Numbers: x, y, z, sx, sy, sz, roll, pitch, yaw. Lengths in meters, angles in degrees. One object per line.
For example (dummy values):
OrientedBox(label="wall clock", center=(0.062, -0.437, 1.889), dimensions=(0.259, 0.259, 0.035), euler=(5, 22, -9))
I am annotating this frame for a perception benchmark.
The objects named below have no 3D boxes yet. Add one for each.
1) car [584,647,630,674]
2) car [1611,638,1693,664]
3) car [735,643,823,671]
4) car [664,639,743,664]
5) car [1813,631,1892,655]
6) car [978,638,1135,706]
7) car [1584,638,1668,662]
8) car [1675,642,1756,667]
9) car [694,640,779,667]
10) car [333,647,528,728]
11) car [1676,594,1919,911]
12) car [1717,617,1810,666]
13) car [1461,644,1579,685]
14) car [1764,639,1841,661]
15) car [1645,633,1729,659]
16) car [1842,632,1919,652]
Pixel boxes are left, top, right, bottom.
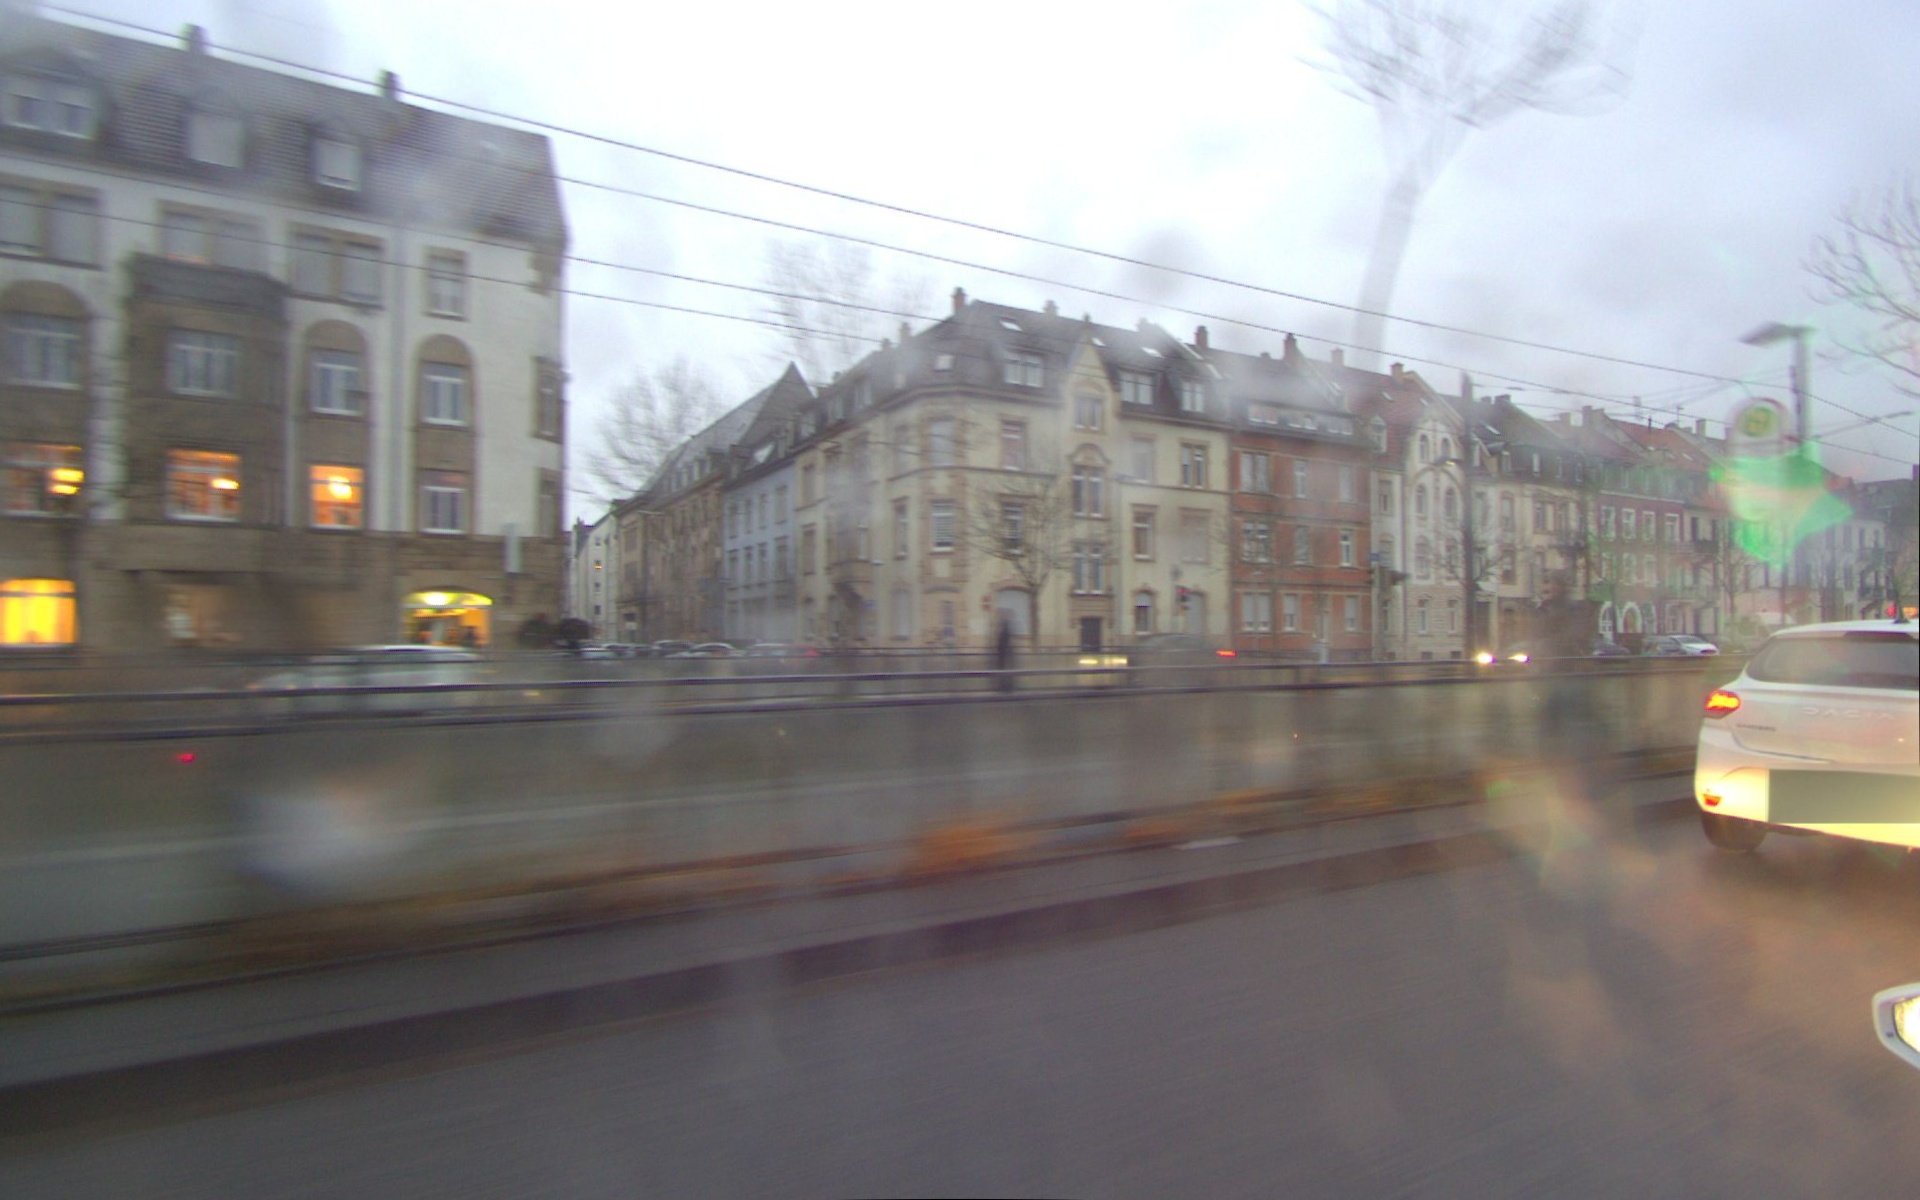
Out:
OrientedBox(label="car", center=(-14.914, 2.555, 42.393), dimensions=(1.315, 1.089, 2.877), euler=(1, -3, -30))
OrientedBox(label="car", center=(37.320, 2.753, 54.318), dimensions=(1.960, 1.349, 4.003), euler=(-1, -2, 6))
OrientedBox(label="car", center=(-8.434, 2.660, 47.123), dimensions=(3.925, 1.228, 1.869), euler=(0, -3, -6))
OrientedBox(label="car", center=(-14.641, 2.928, 57.377), dimensions=(3.920, 1.227, 1.872), euler=(2, -3, 3))
OrientedBox(label="car", center=(59.934, 2.894, 67.550), dimensions=(1.960, 1.505, 4.003), euler=(-1, -2, 5))
OrientedBox(label="car", center=(2.663, 1.906, 27.532), dimensions=(3.953, 1.659, 1.856), euler=(1, 0, -30))
OrientedBox(label="car", center=(33.390, 2.497, 50.491), dimensions=(1.959, 1.184, 4.003), euler=(-1, -2, 8))
OrientedBox(label="car", center=(43.061, 3.086, 57.355), dimensions=(1.959, 1.349, 4.003), euler=(-1, -2, 8))
OrientedBox(label="car", center=(-10.991, 2.633, 49.620), dimensions=(3.925, 1.228, 1.869), euler=(0, -3, -6))
OrientedBox(label="car", center=(-10.235, 1.650, 19.532), dimensions=(3.221, 1.426, 1.671), euler=(1, -4, -30))
OrientedBox(label="car", center=(6.500, 0.814, 6.403), dimensions=(4.005, 1.621, 1.664), euler=(1, -1, -30))
OrientedBox(label="car", center=(48.887, 2.517, 61.296), dimensions=(1.959, 2.834, 5.872), euler=(-1, -2, 12))
OrientedBox(label="car", center=(21.571, 2.450, 38.630), dimensions=(4.644, 1.472, 1.856), euler=(1, -3, -30))
OrientedBox(label="car", center=(54.108, 3.218, 64.596), dimensions=(1.959, 1.349, 4.003), euler=(-1, -2, 8))
OrientedBox(label="car", center=(40.316, 2.558, 55.801), dimensions=(1.960, 1.349, 4.003), euler=(-1, -2, 5))
OrientedBox(label="car", center=(62.837, 2.854, 68.628), dimensions=(1.959, 1.349, 4.003), euler=(-1, -2, 8))
